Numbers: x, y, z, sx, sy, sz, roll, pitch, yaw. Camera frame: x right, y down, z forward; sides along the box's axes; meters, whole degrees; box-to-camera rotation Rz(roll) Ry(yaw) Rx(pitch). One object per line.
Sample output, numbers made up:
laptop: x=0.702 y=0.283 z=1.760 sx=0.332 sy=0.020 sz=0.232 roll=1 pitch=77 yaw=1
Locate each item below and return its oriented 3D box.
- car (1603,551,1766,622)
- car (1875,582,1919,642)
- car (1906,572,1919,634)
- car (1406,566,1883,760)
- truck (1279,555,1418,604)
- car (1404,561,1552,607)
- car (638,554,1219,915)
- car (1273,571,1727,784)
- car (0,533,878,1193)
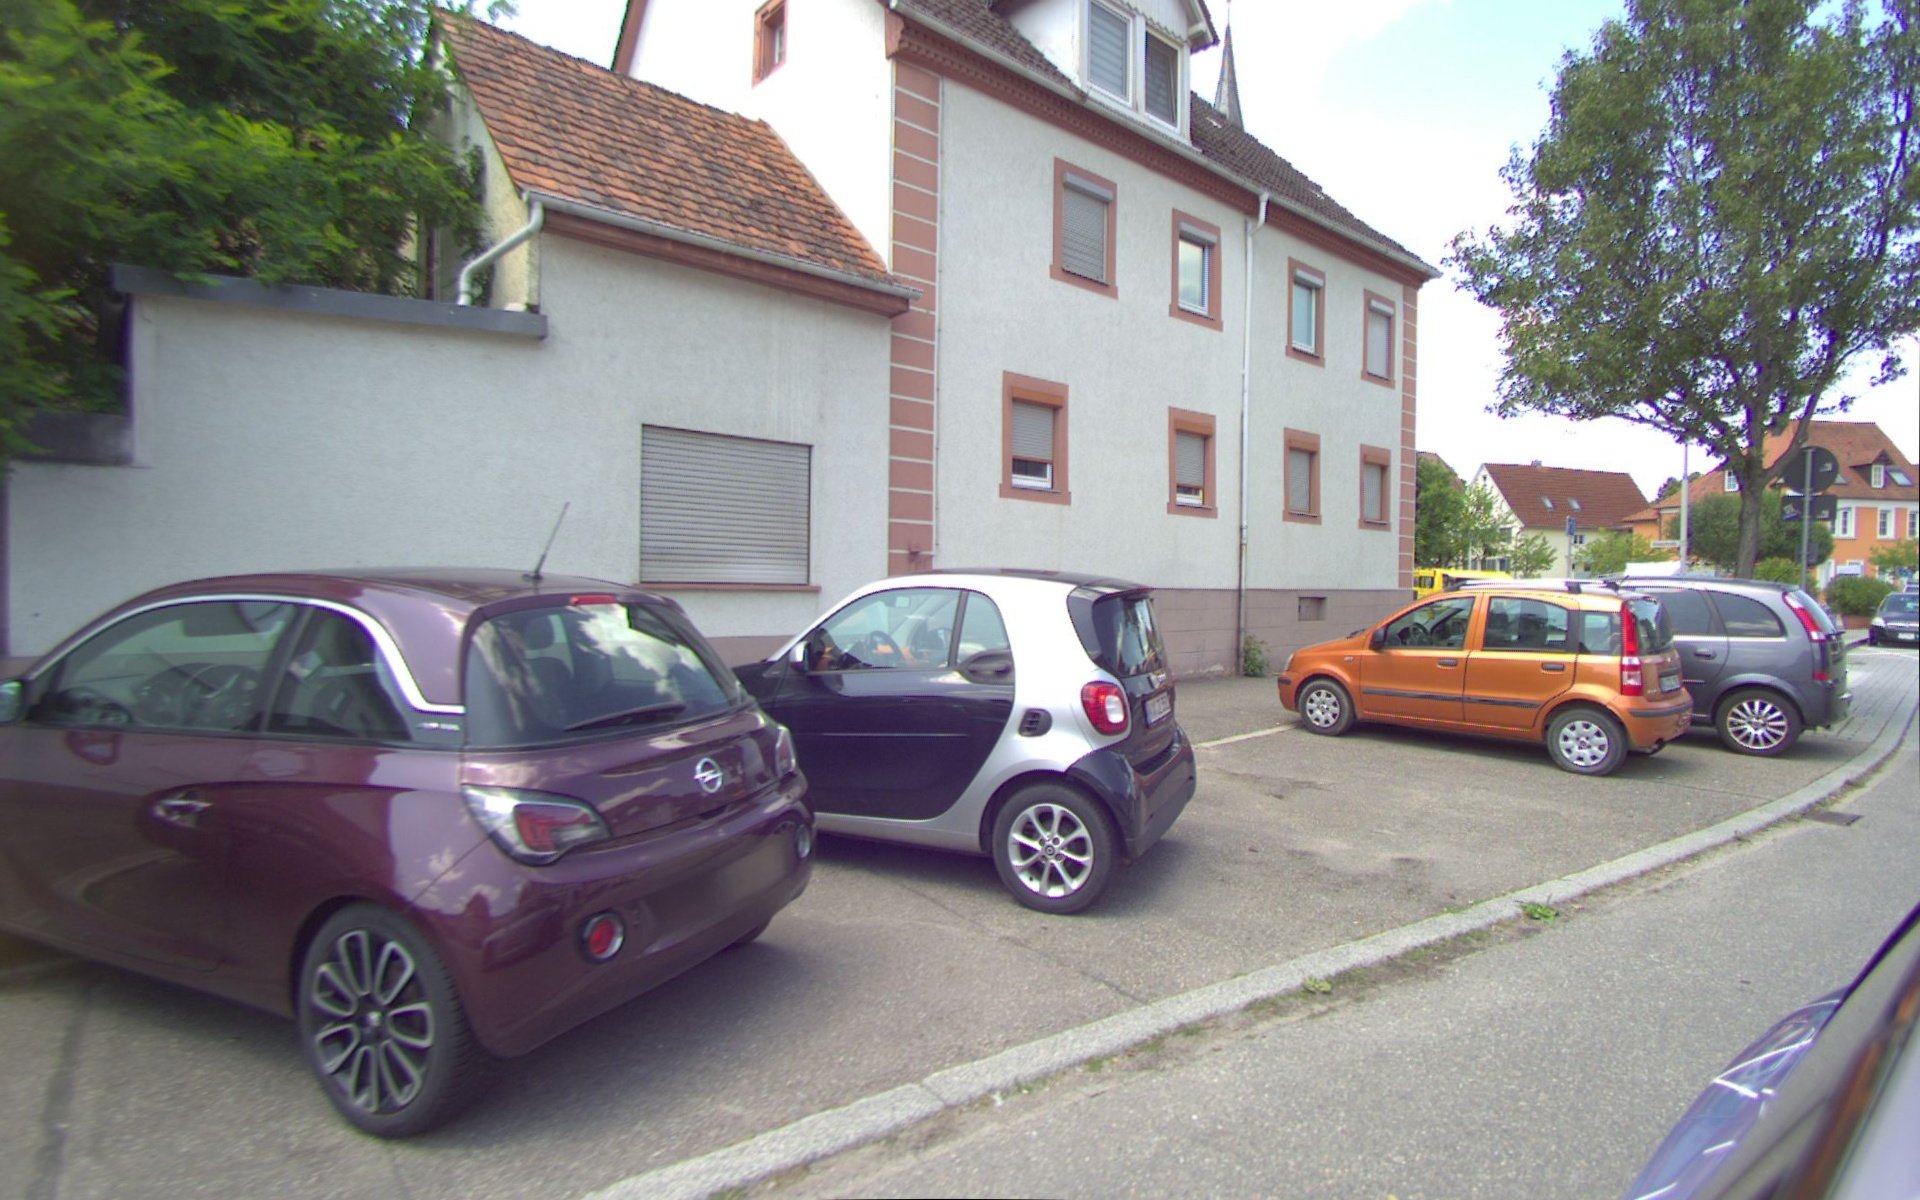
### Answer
car: x=32.465 y=-0.660 z=45.333 sx=6.966 sy=2.999 sz=2.767 roll=-1 pitch=2 yaw=-24
car: x=27.693 y=0.333 z=28.831 sx=4.340 sy=1.583 sz=1.773 roll=-1 pitch=3 yaw=-40
car: x=36.679 y=0.123 z=37.438 sx=5.013 sy=2.204 sz=1.946 roll=0 pitch=3 yaw=-41
car: x=7.024 y=0.481 z=10.648 sx=1.820 sy=1.596 sz=3.851 roll=-1 pitch=3 yaw=-44
truck: x=21.174 y=-1.142 z=55.592 sx=2.898 sy=2.529 sz=6.833 roll=0 pitch=1 yaw=-29
car: x=28.981 y=-0.889 z=56.857 sx=6.842 sy=2.508 sz=2.650 roll=0 pitch=1 yaw=6
car: x=-0.111 y=0.538 z=5.711 sx=2.759 sy=1.523 sz=1.862 roll=1 pitch=1 yaw=25
car: x=4.914 y=0.544 z=9.517 sx=1.696 sy=1.597 sz=3.383 roll=0 pitch=2 yaw=-41
car: x=-2.153 y=0.558 z=3.829 sx=3.200 sy=1.523 sz=1.813 roll=2 pitch=1 yaw=23
